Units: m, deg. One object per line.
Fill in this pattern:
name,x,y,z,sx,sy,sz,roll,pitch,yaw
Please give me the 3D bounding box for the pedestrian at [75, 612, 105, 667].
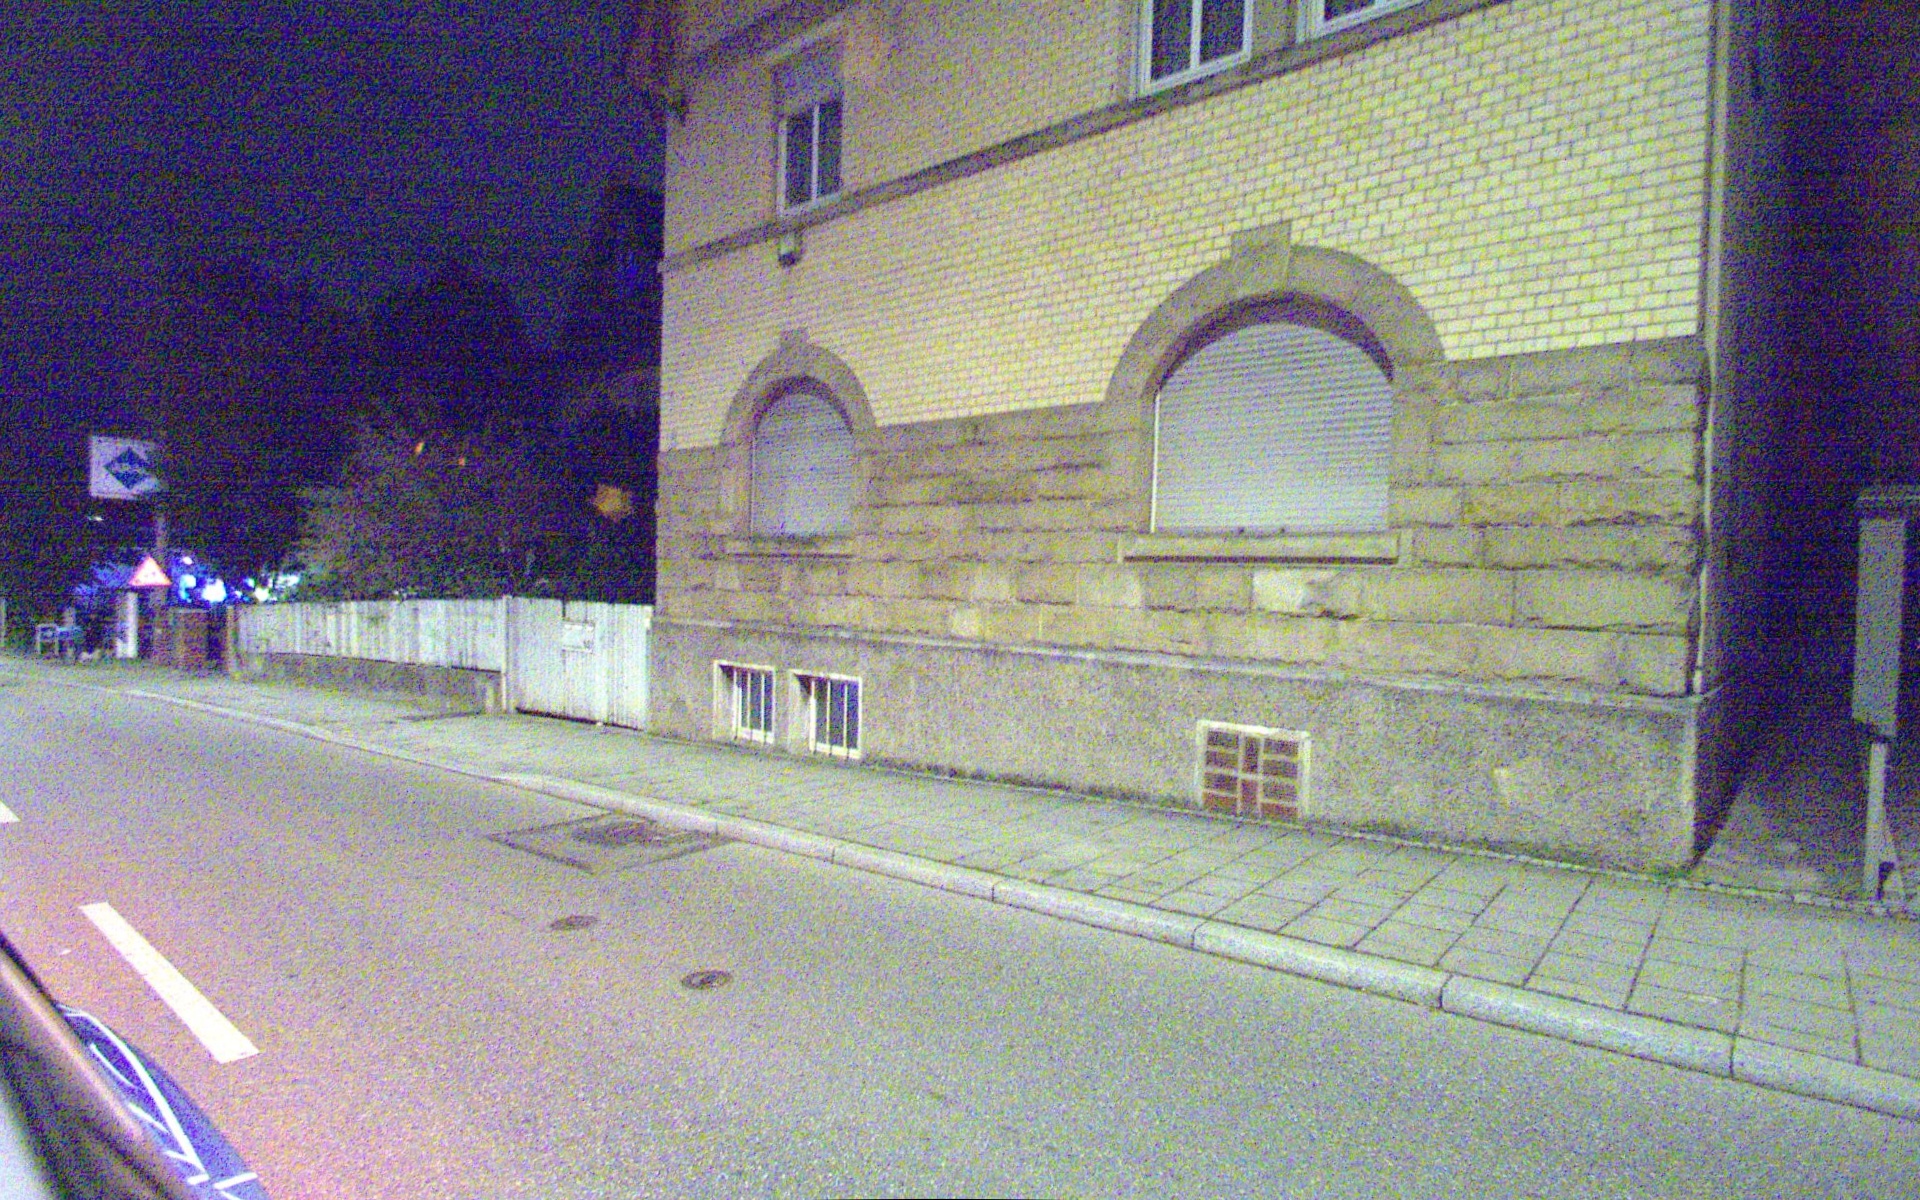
pedestrian,-28.683,1.281,33.361,0.500,1.773,0.664,-1,0,41
